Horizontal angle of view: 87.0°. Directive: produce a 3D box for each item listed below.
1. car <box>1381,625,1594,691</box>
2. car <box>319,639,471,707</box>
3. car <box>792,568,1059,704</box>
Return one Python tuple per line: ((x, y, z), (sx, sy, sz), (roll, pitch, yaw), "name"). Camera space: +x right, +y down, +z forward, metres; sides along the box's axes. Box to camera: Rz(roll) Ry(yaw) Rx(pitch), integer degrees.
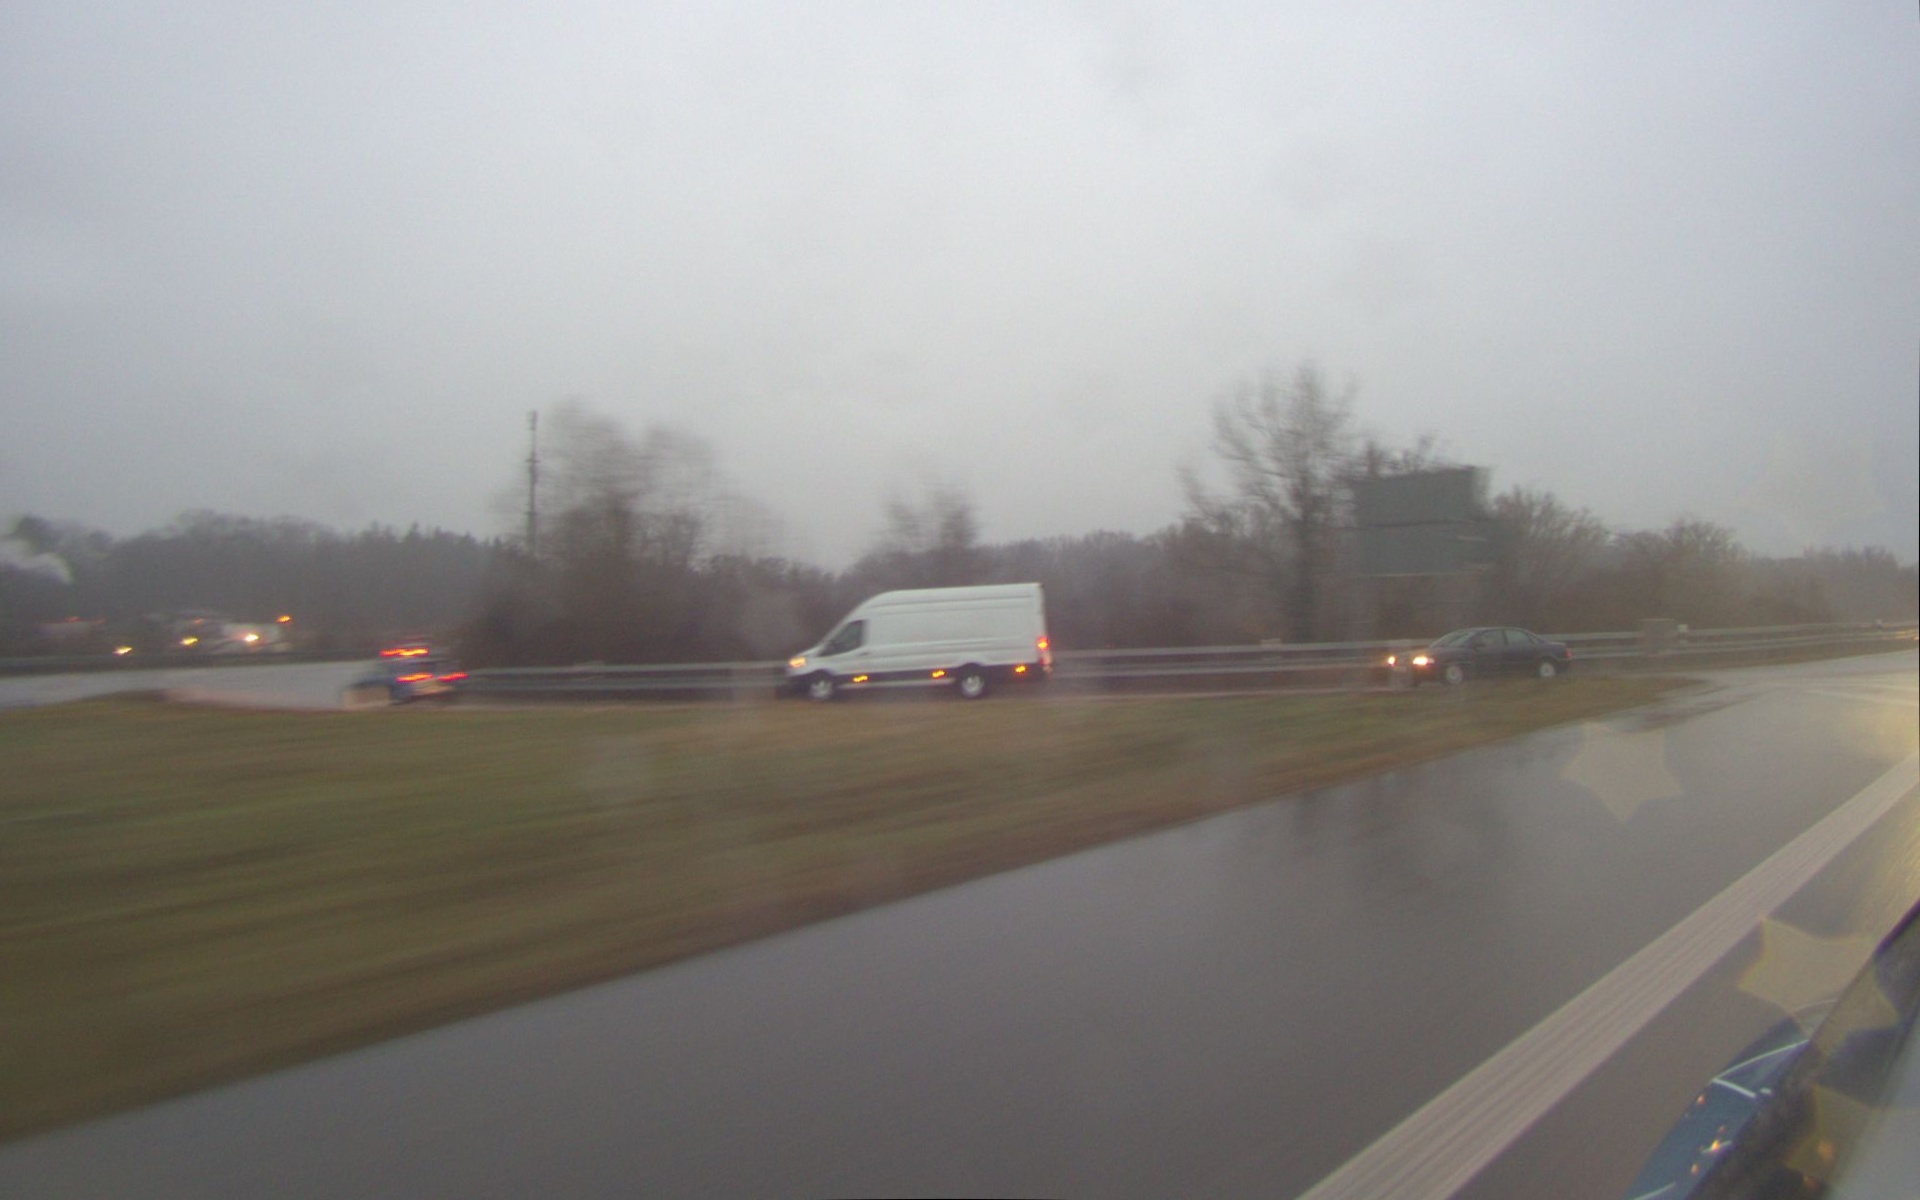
((12.660, 1.374, 24.411), (4.288, 1.433, 1.744), (-1, -3, -9), "car")
((-17.613, 2.223, 31.490), (4.866, 1.960, 1.978), (-2, -2, 31), "car")
((-0.771, 0.917, 25.054), (6.281, 3.005, 2.283), (-2, -3, 8), "car")
